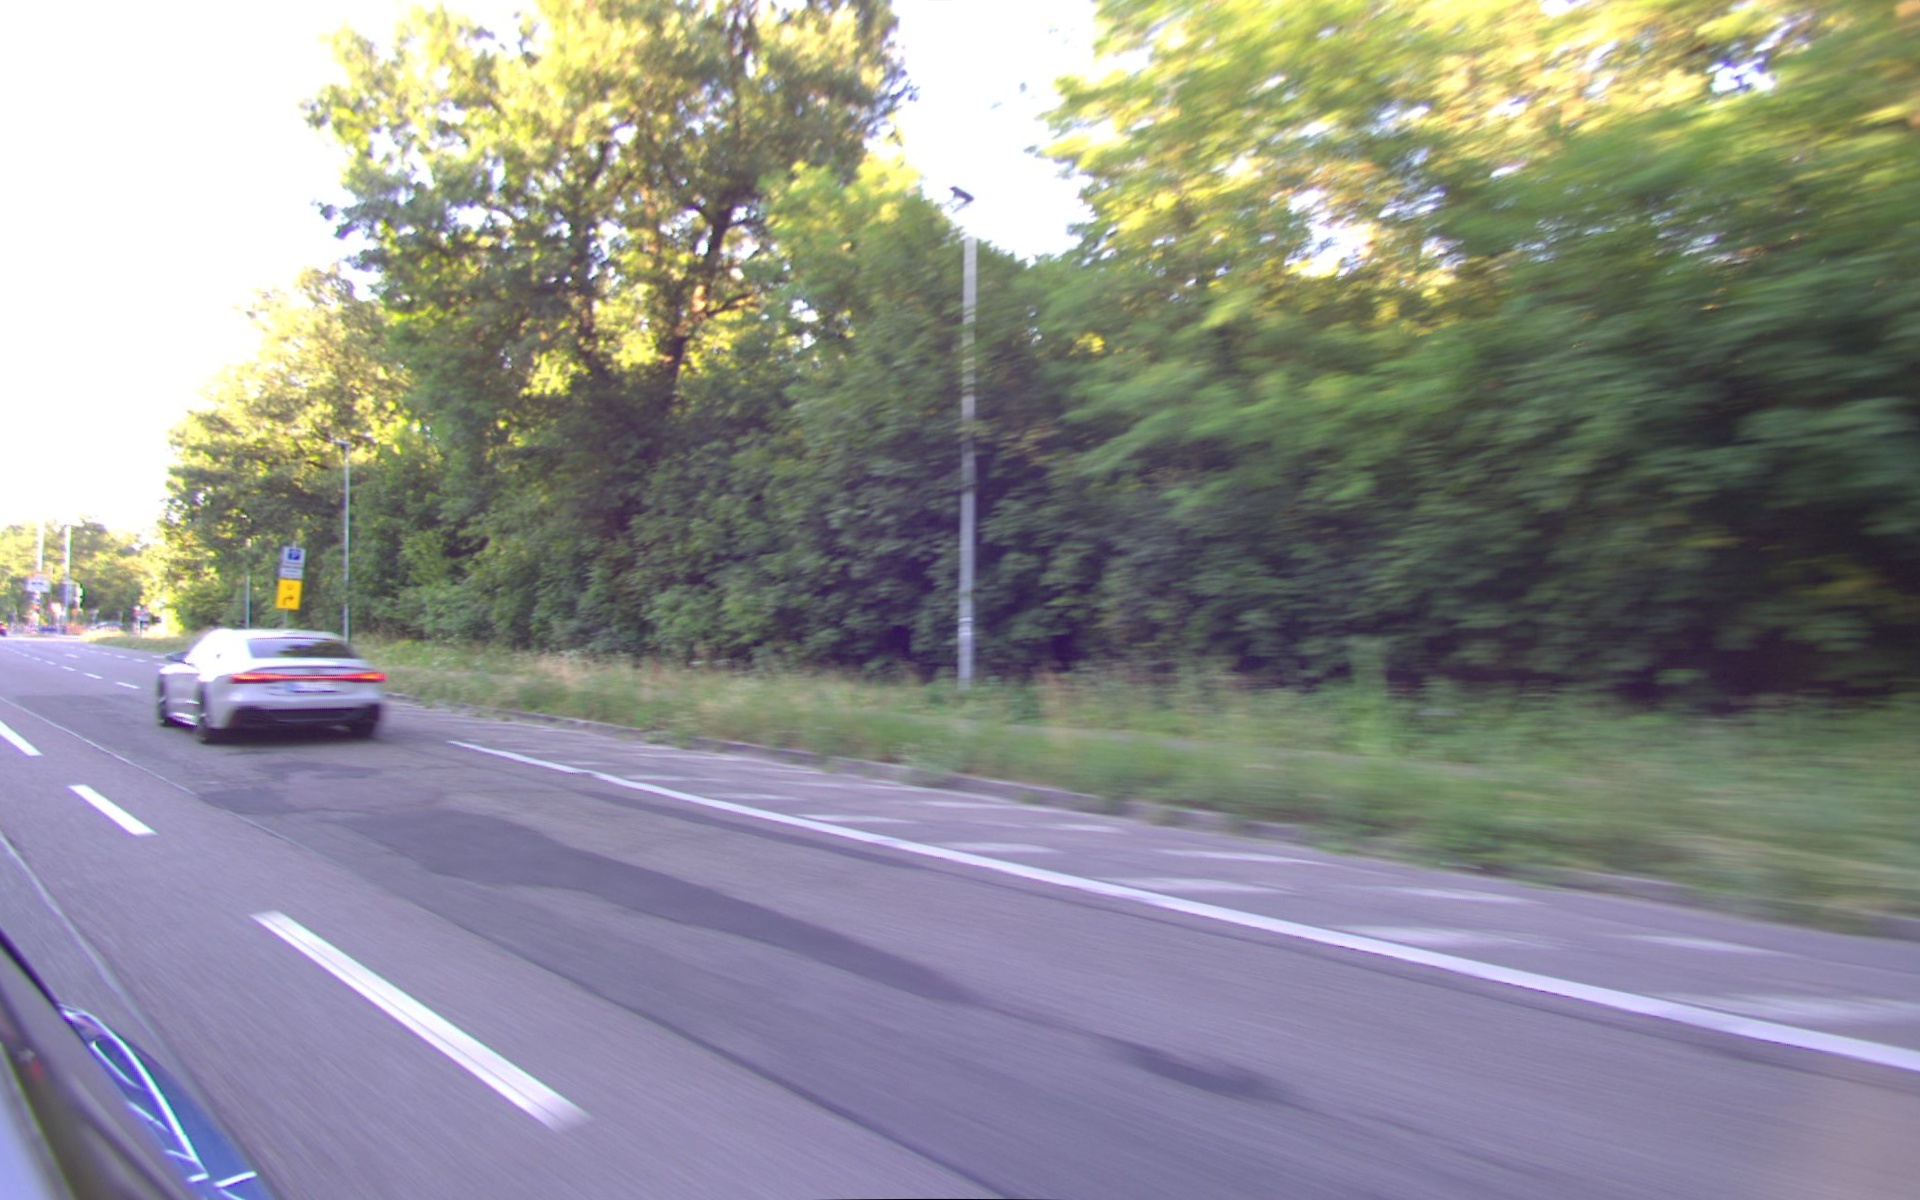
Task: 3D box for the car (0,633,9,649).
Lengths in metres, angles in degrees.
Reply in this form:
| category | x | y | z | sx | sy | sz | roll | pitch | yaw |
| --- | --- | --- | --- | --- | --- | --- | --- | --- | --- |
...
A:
| category | x | y | z | sx | sy | sz | roll | pitch | yaw |
| --- | --- | --- | --- | --- | --- | --- | --- | --- | --- |
| car | -96.349 | 4.084 | 100.787 | 1.795 | 1.545 | 4.464 | 4 | -4 | -37 |

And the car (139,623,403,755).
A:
| category | x | y | z | sx | sy | sz | roll | pitch | yaw |
| --- | --- | --- | --- | --- | --- | --- | --- | --- | --- |
| car | -9.437 | 1.079 | 13.713 | 4.467 | 1.446 | 2.040 | 0 | -3 | 44 |
